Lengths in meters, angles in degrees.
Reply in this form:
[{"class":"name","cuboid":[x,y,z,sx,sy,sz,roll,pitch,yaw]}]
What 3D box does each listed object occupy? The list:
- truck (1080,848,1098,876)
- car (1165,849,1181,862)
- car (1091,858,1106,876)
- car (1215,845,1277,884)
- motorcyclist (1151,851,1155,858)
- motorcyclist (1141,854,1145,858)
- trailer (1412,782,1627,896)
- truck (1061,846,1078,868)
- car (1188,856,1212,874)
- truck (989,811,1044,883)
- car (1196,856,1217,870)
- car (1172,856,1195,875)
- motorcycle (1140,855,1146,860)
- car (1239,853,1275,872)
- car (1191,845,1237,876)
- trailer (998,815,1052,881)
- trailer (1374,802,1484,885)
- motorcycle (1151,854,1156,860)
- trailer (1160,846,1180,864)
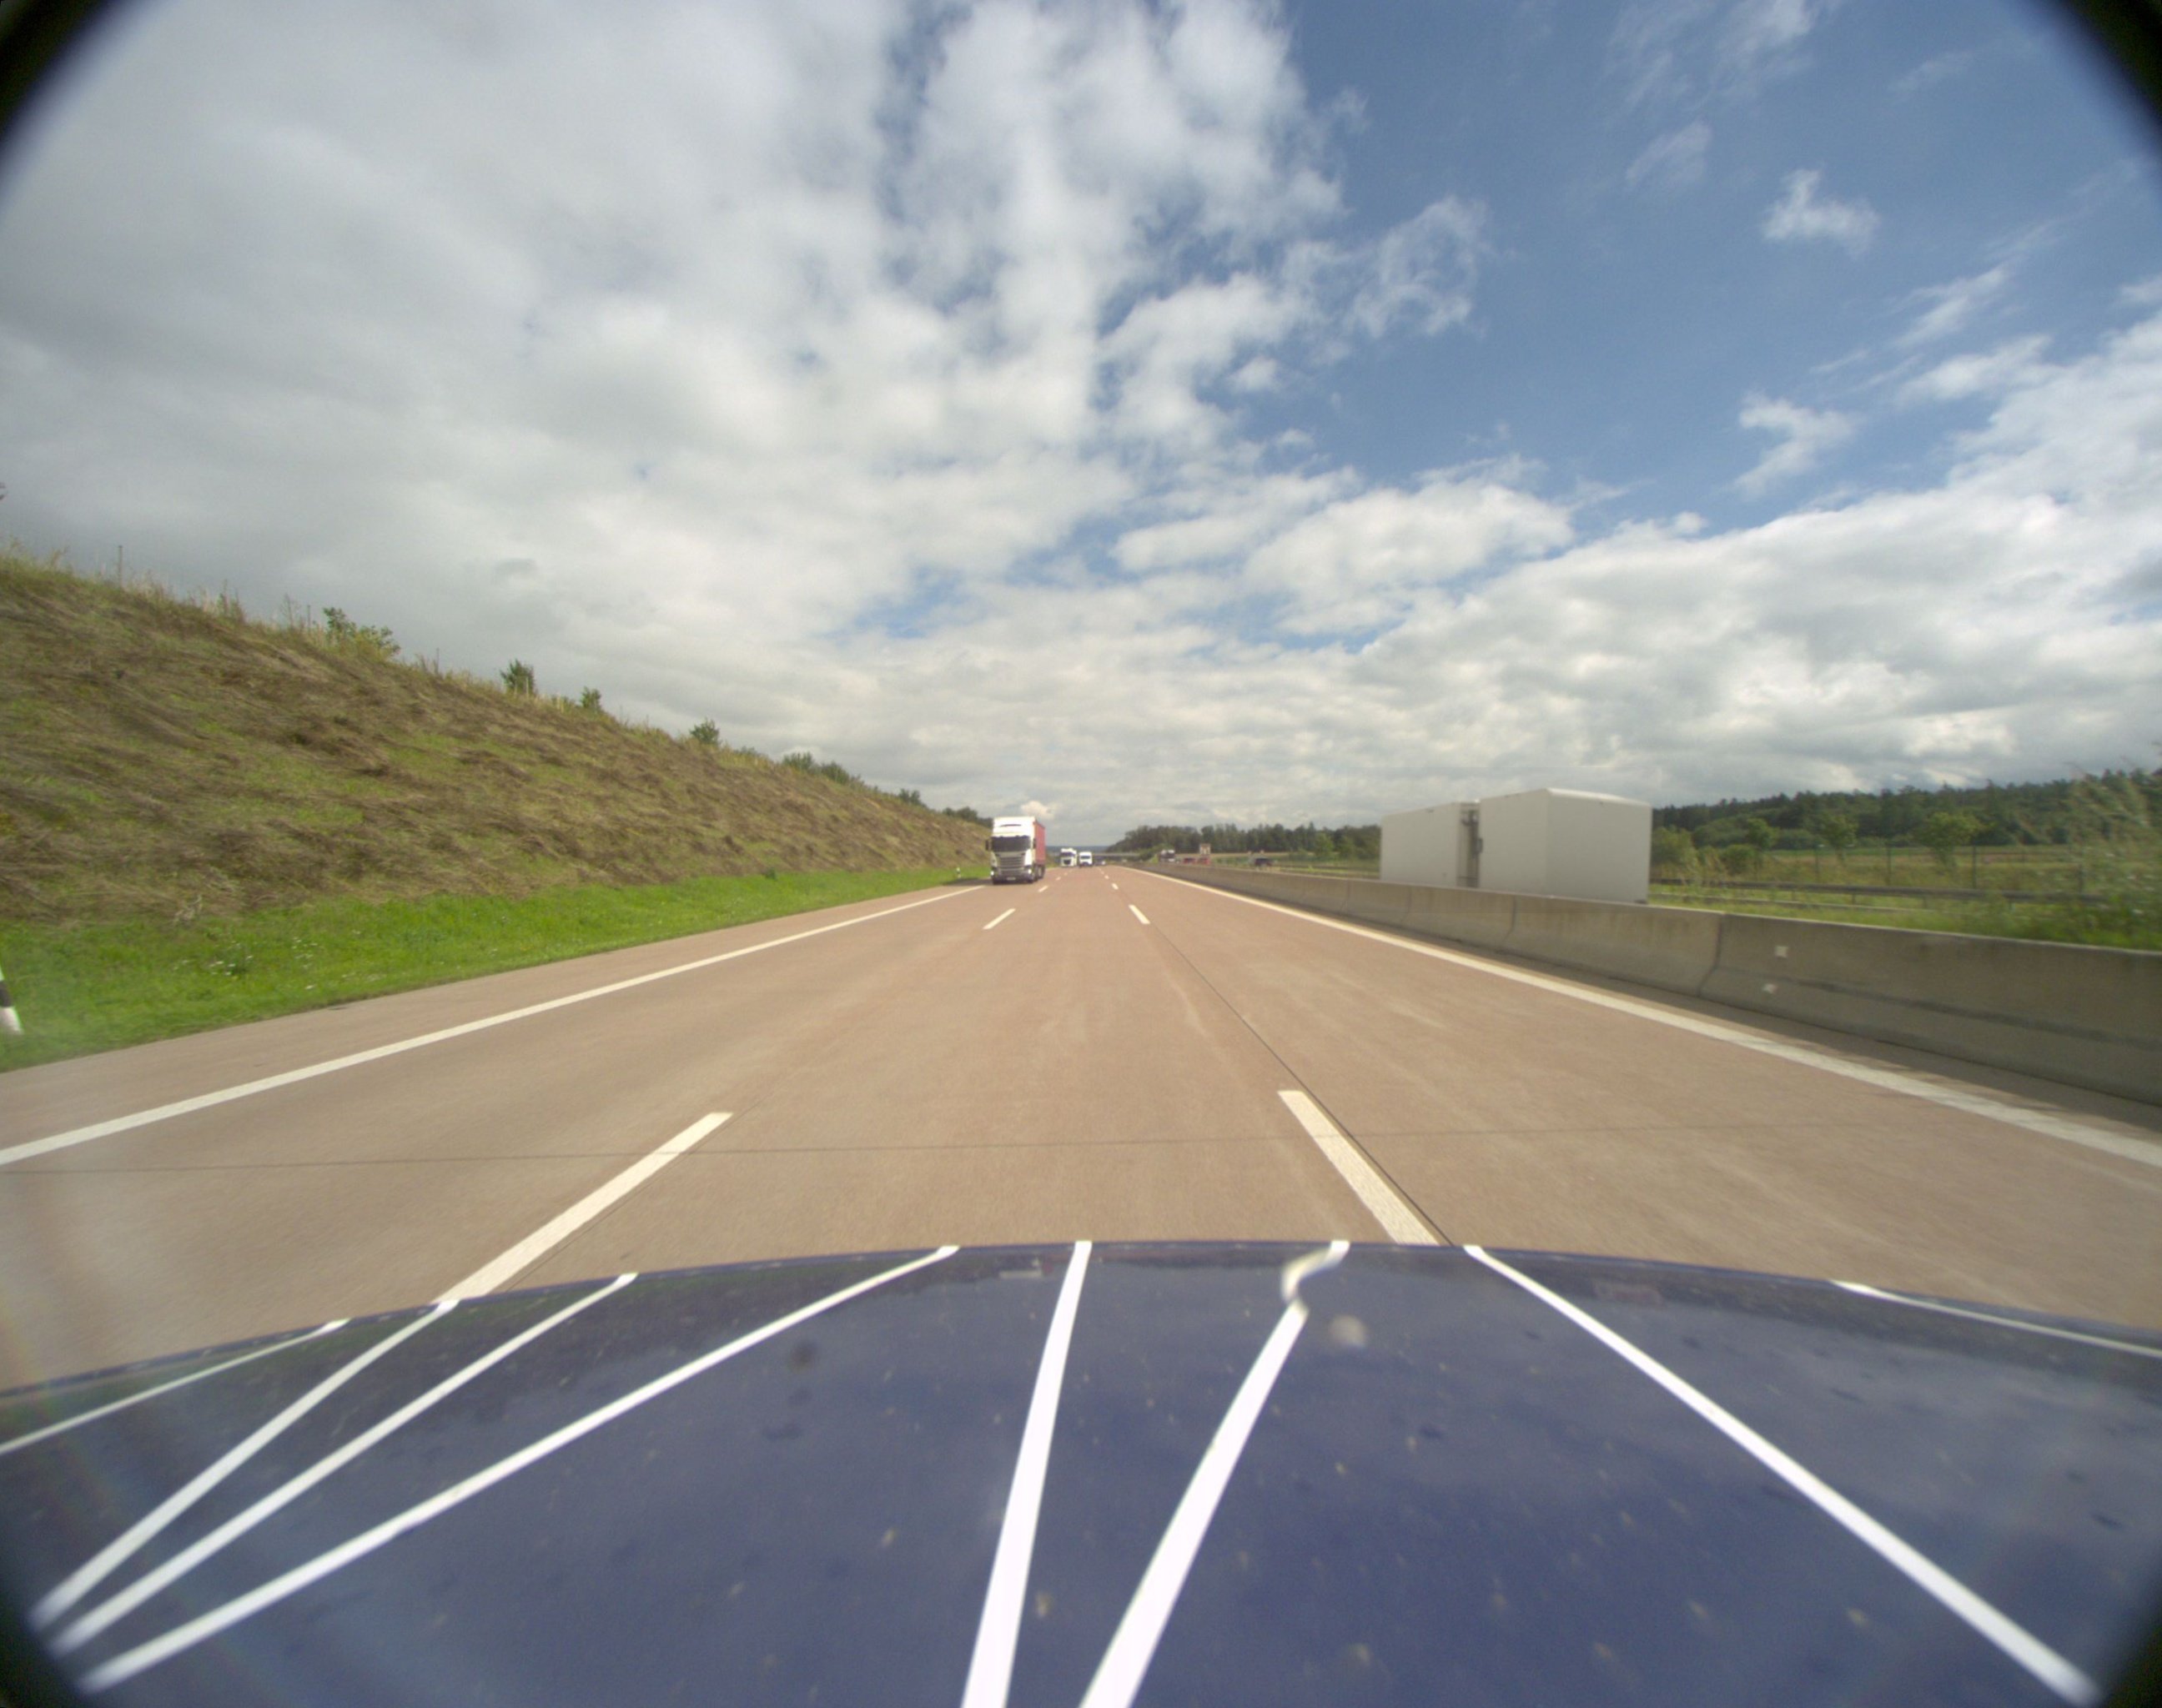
[{"class":"truck","cuboid":[1.342,1.328,125.916,2.681,4.333,11.808,-3,0,1]},{"class":"car","cuboid":[15.561,0.248,128.272,1.991,2.002,5.051,-3,1,0]},{"class":"car","cuboid":[3.445,2.522,150.386,2.773,3.260,6.393,-3,0,1]},{"class":"car","cuboid":[7.665,0.481,35.715,1.977,1.652,4.082,-3,0,1]},{"class":"motorcyclist","cuboid":[17.487,0.127,184.214,1.012,1.851,0.744,-3,1,2]},{"class":"motorcyclist","cuboid":[18.535,0.633,227.404,1.188,0.943,0.839,-3,0,1]},{"class":"trailer","cuboid":[19.508,-0.573,35.270,3.029,4.239,12.095,-3,0,1]},{"class":"truck","cuboid":[-2.314,0.545,157.017,3.107,4.333,11.256,-3,0,1]},{"class":"car","cuboid":[8.229,0.716,52.583,1.225,1.145,2.757,-3,0,1]},{"class":"truck","cuboid":[-3.873,-0.386,47.219,2.681,4.082,6.616,-2,0,1]},{"class":"car","cuboid":[16.761,1.162,101.639,1.978,1.652,4.490,-3,0,0]},{"class":"car","cuboid":[11.716,1.313,87.210,1.998,1.971,5.218,-3,0,1]},{"class":"motorcycle","cuboid":[18.548,1.115,227.454,1.558,1.533,2.841,-3,0,1]},{"class":"car","cuboid":[15.650,0.721,67.845,1.998,1.565,5.218,-3,0,1]},{"class":"car","cuboid":[7.784,0.390,44.837,1.889,1.652,4.433,-3,0,1]},{"class":"trailer","cuboid":[-3.788,-0.379,54.630,2.679,4.069,12.789,-2,0,1]},{"class":"trailer","cuboid":[19.650,-0.566,43.456,3.015,4.223,7.009,-3,0,1]},{"class":"motorcycle","cuboid":[17.507,0.689,184.185,0.929,1.296,2.342,-3,0,1]},{"class":"trailer","cuboid":[21.751,0.280,186.306,3.202,3.955,16.326,-3,0,2]}]
